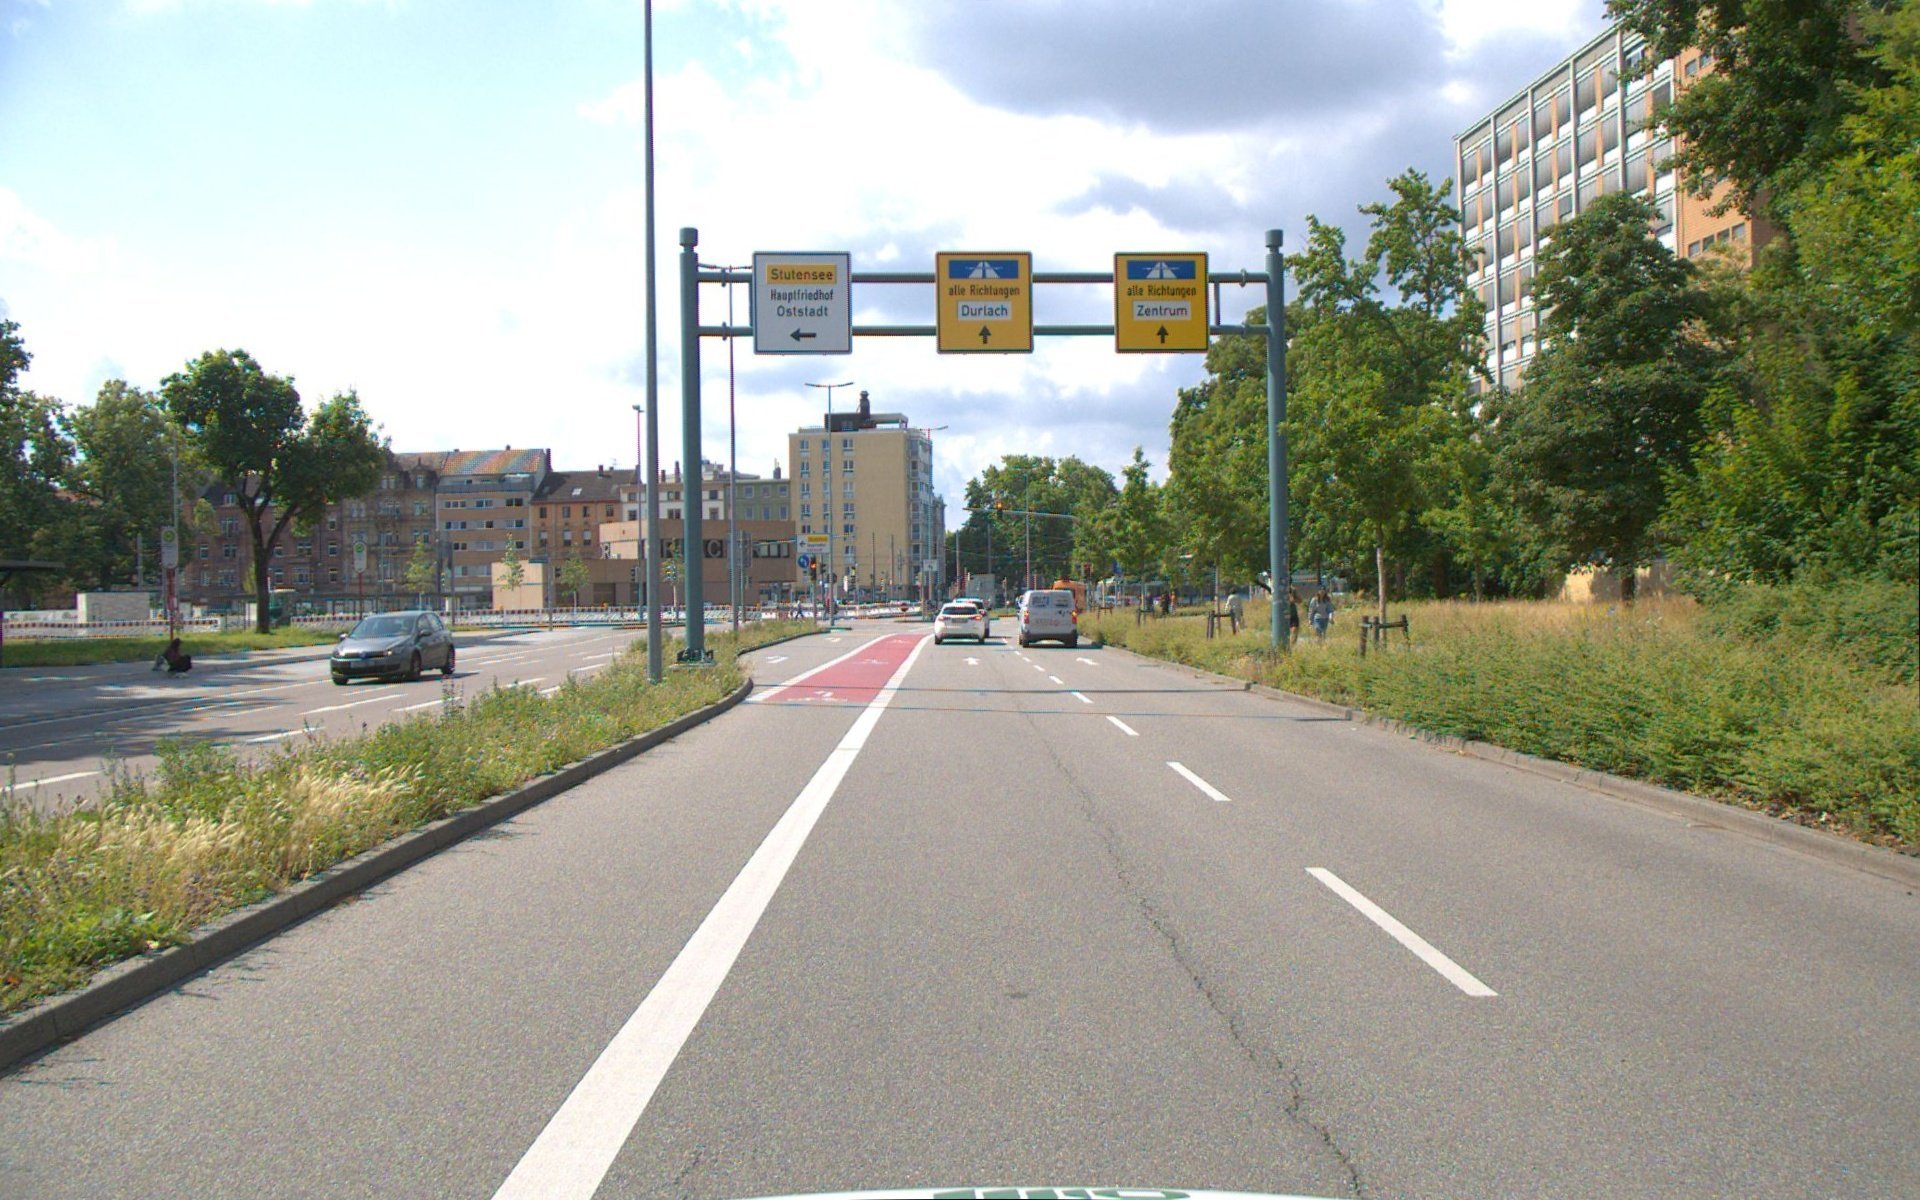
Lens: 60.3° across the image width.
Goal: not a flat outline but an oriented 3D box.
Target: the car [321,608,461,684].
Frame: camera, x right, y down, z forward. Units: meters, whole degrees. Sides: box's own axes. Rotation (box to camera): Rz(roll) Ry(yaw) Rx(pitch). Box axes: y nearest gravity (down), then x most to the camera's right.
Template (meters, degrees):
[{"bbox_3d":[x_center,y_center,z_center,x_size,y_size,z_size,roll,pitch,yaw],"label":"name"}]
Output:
[{"bbox_3d":[-12.397,0.952,36.290,1.666,1.470,4.145,-2,0,-1],"label":"car"}]

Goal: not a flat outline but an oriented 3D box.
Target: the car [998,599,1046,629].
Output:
[{"bbox_3d":[4.049,0.920,107.608,1.952,1.847,4.001,2,0,19],"label":"car"}]

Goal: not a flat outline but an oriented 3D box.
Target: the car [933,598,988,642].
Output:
[{"bbox_3d":[0.037,0.690,59.417,1.864,1.449,4.385,-1,0,1],"label":"car"}]

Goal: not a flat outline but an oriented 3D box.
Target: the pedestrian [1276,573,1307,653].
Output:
[{"bbox_3d":[7.693,0.298,38.387,0.555,1.833,0.639,-1,0,-1],"label":"pedestrian"}]

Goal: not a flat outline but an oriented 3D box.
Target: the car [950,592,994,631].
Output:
[{"bbox_3d":[0.488,0.449,68.083,1.754,1.566,4.011,1,0,0],"label":"car"}]

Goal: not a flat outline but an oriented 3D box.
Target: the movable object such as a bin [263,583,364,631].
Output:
[{"bbox_3d":[-40.739,0.419,104.334,2.248,2.935,5.507,-2,0,43],"label":"movable object such as a bin"}]

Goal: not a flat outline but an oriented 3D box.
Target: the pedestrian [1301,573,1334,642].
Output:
[{"bbox_3d":[8.357,0.170,38.691,0.610,1.608,0.708,-1,0,-1],"label":"pedestrian"}]

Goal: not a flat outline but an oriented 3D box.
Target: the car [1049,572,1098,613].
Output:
[{"bbox_3d":[8.227,-0.530,119.391,2.087,2.829,4.637,-2,0,23],"label":"car"}]

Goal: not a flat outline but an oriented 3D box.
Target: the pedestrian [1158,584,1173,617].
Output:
[{"bbox_3d":[11.007,0.011,88.446,0.727,1.766,0.679,-1,0,3],"label":"pedestrian"}]

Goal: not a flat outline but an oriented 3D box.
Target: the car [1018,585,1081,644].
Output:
[{"bbox_3d":[3.025,0.452,56.573,1.902,1.903,4.825,-1,0,0],"label":"car"}]

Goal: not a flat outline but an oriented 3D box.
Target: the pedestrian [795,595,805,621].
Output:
[{"bbox_3d":[-10.793,0.545,111.377,0.513,1.764,0.624,-1,0,9],"label":"pedestrian"}]

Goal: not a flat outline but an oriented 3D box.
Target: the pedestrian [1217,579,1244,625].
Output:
[{"bbox_3d":[9.891,0.073,60.452,0.850,1.667,0.721,-1,0,1],"label":"pedestrian"}]

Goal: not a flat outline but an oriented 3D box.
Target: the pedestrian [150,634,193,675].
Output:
[{"bbox_3d":[-19.164,1.320,40.210,0.680,0.980,0.743,0,0,-2],"label":"pedestrian"}]

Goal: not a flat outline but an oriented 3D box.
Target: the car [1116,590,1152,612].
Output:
[{"bbox_3d":[15.441,0.113,146.967,1.954,1.858,3.997,-2,0,25],"label":"car"}]
